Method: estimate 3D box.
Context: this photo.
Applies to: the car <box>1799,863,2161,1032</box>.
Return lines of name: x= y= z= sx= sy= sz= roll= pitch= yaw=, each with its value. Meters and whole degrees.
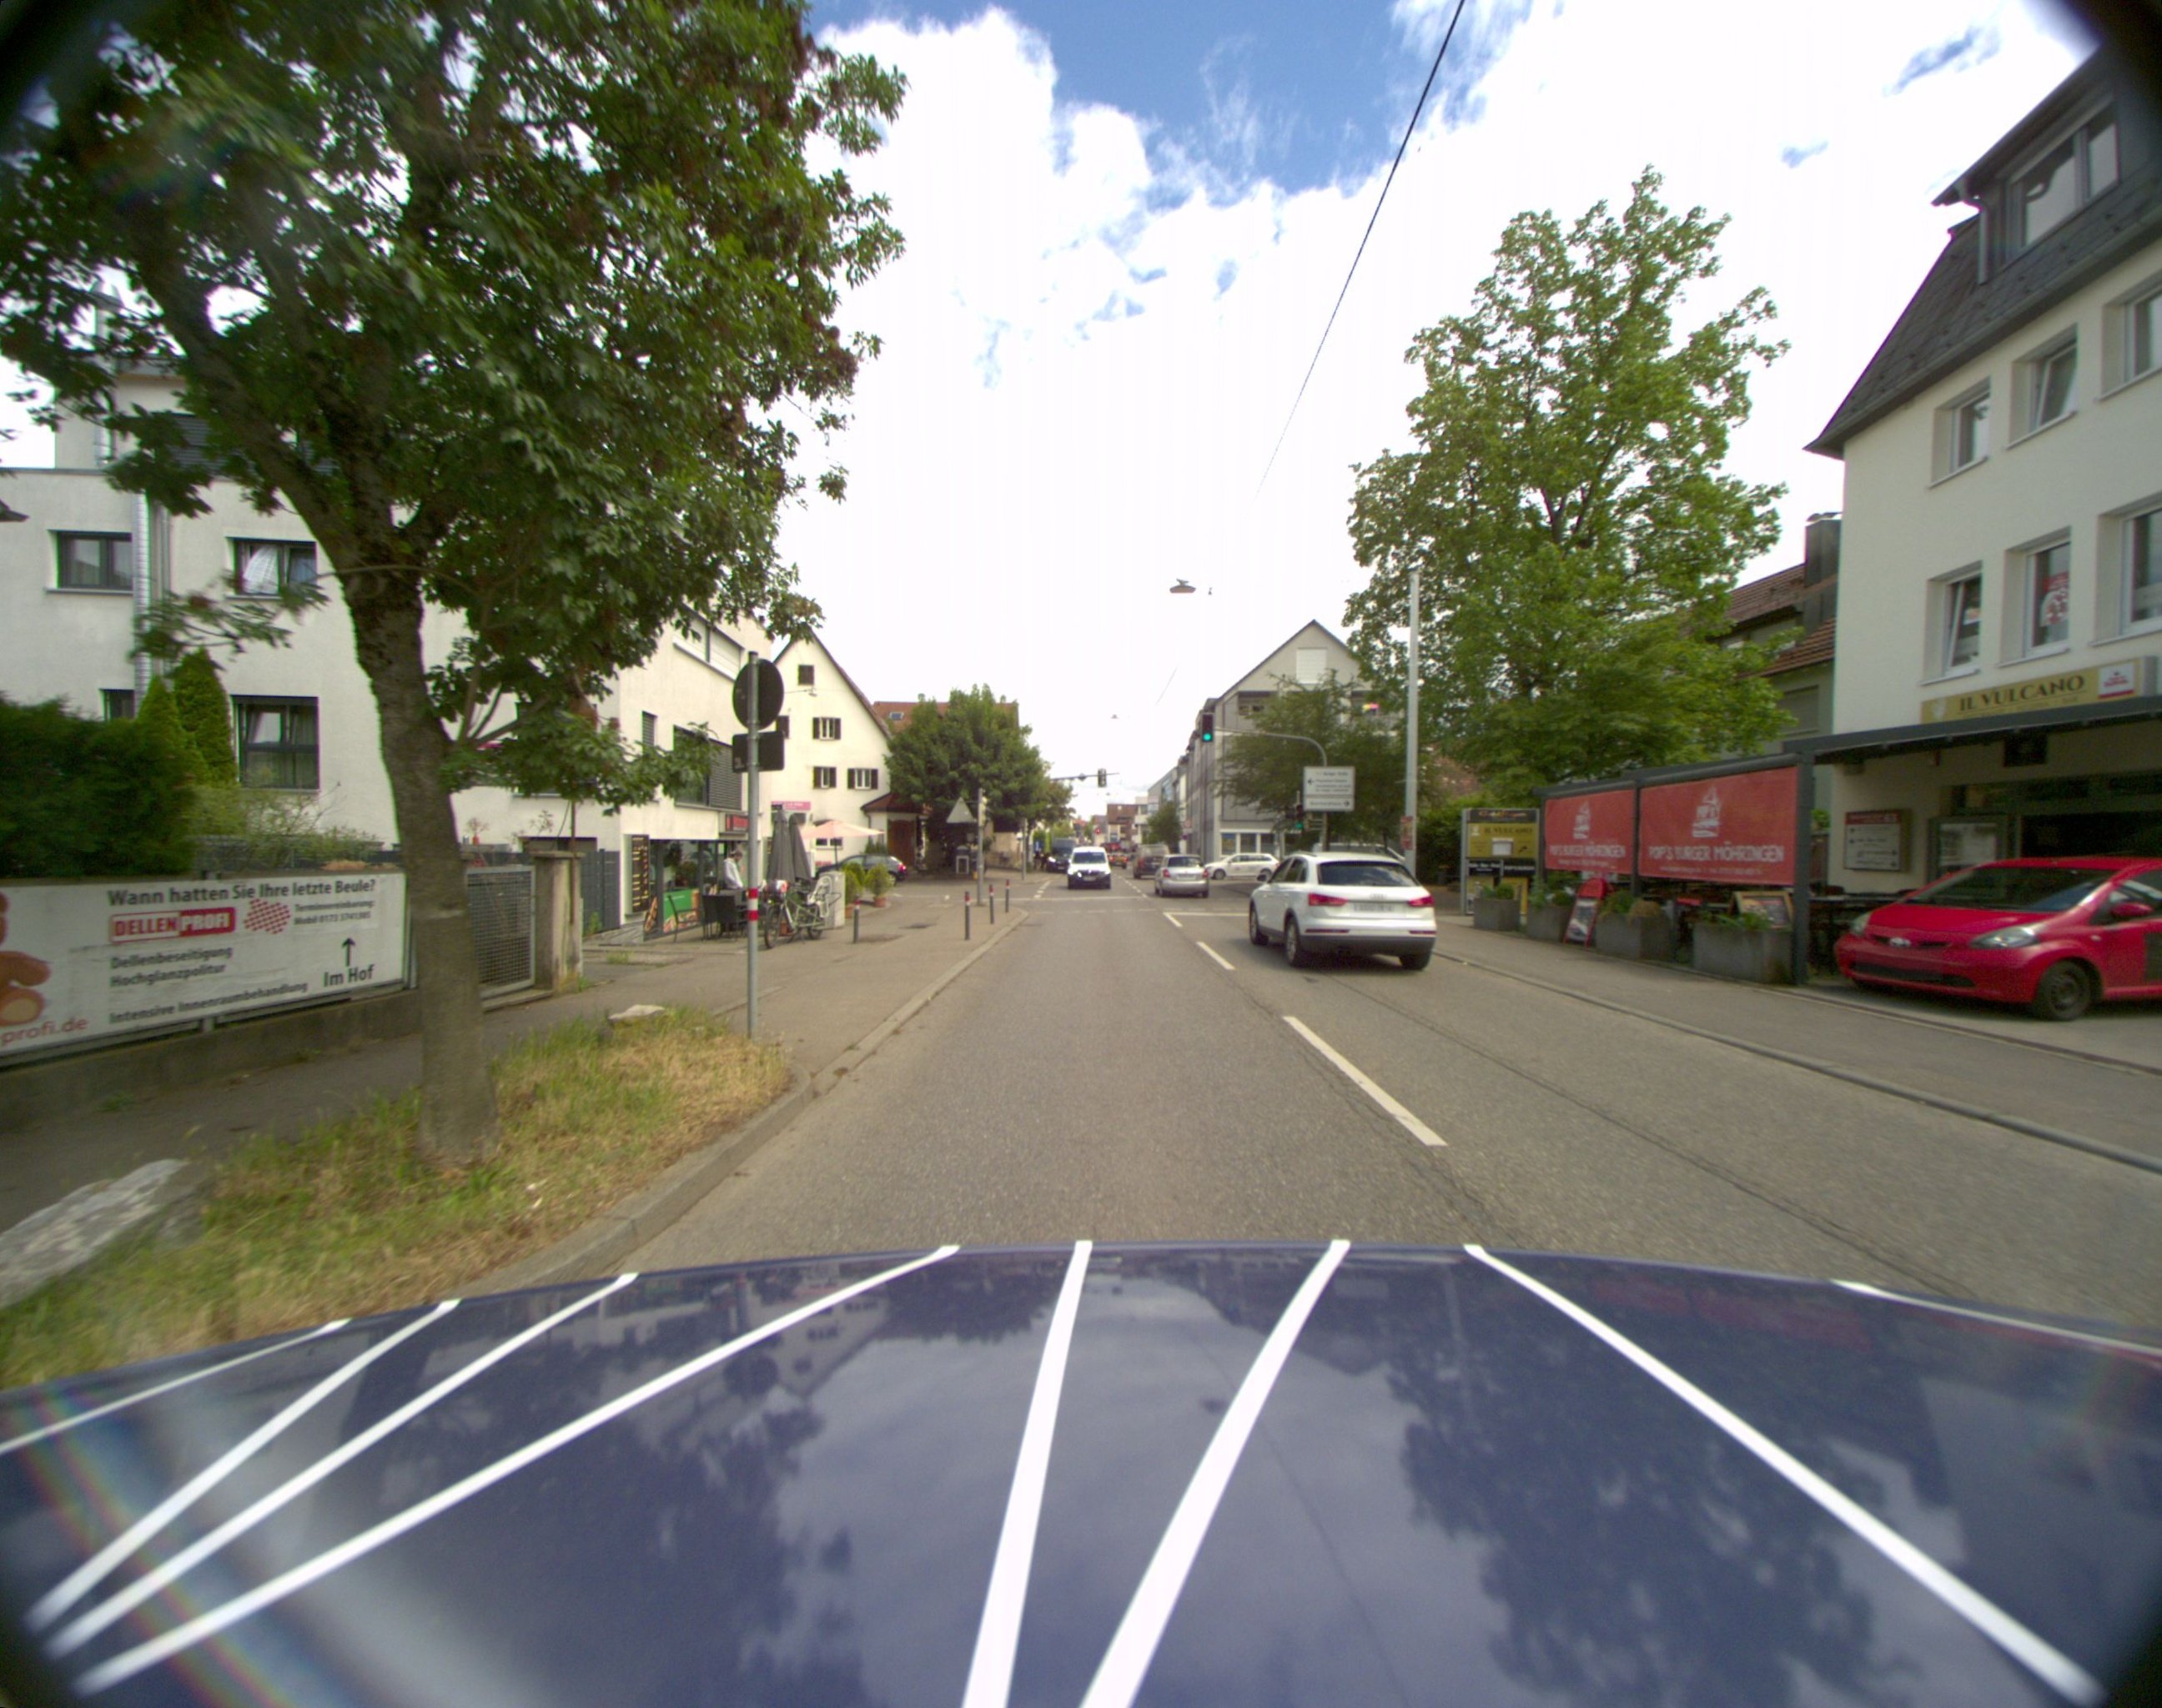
car: x=9.811 y=0.824 z=7.560 sx=3.702 sy=1.417 sz=1.804 roll=0 pitch=1 yaw=-2

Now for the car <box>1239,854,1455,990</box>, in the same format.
car: x=3.678 y=0.831 z=11.346 sx=1.810 sy=1.562 sz=4.159 roll=2 pitch=1 yaw=2

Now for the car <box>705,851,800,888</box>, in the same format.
car: x=-14.006 y=0.640 z=32.574 sx=3.426 sy=1.478 sz=1.650 roll=0 pitch=1 yaw=-12

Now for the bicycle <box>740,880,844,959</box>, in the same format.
bicycle: x=-4.944 y=1.076 z=13.174 sx=0.722 sy=1.144 sz=2.214 roll=0 pitch=1 yaw=7

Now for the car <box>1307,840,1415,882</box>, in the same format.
car: x=13.929 y=0.338 z=38.041 sx=4.633 sy=1.997 sz=2.095 roll=0 pitch=1 yaw=-1

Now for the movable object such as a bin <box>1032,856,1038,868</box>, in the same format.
movable object such as a bin: x=-3.680 y=0.676 z=61.229 sx=0.410 sy=0.933 sz=0.273 roll=4 pitch=1 yaw=-10

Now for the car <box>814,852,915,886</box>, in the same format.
car: x=-9.560 y=0.672 z=33.734 sx=4.187 sy=1.407 sz=1.777 roll=1 pitch=-1 yaw=-15

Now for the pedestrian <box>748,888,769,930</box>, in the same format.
pedestrian: x=-7.556 y=1.280 z=17.824 sx=0.420 sy=0.933 sz=0.497 roll=-1 pitch=1 yaw=-19

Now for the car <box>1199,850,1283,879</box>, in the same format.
car: x=8.661 y=0.571 z=41.415 sx=4.222 sy=1.504 sz=1.822 roll=0 pitch=0 yaw=1

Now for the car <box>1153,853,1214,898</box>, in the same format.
car: x=3.576 y=0.721 z=27.122 sx=1.621 sy=1.478 sz=3.812 roll=0 pitch=0 yaw=-1

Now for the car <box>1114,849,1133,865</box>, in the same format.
car: x=4.254 y=0.295 z=75.950 sx=1.732 sy=1.529 sz=4.000 roll=0 pitch=0 yaw=0

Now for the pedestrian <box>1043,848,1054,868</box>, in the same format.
pedestrian: x=-2.615 y=0.314 z=61.789 sx=0.786 sy=1.633 sz=0.798 roll=0 pitch=1 yaw=7

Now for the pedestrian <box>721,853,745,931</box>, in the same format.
pedestrian: x=-8.042 y=0.868 z=17.578 sx=0.429 sy=1.752 sz=0.674 roll=-1 pitch=2 yaw=-19

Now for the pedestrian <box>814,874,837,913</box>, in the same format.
pedestrian: x=-7.448 y=1.142 z=22.174 sx=0.568 sy=1.082 sz=0.633 roll=-1 pitch=1 yaw=-24

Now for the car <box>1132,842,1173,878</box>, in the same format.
car: x=4.070 y=0.312 z=43.657 sx=1.882 sy=1.901 sz=4.751 roll=0 pitch=0 yaw=0

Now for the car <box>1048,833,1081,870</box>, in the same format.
car: x=-1.218 y=-0.200 z=59.827 sx=2.153 sy=2.754 sz=6.250 roll=0 pitch=0 yaw=3

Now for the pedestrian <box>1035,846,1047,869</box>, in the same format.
pedestrian: x=-3.179 y=0.265 z=60.411 sx=0.741 sy=1.772 sz=0.900 roll=0 pitch=1 yaw=11

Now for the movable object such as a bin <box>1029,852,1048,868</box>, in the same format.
movable object such as a bin: x=-3.484 y=0.465 z=62.360 sx=1.188 sy=1.258 sz=1.206 roll=0 pitch=1 yaw=-30

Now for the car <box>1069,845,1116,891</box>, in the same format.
car: x=0.481 y=0.536 z=32.486 sx=1.871 sy=1.805 sz=5.006 roll=0 pitch=0 yaw=0
